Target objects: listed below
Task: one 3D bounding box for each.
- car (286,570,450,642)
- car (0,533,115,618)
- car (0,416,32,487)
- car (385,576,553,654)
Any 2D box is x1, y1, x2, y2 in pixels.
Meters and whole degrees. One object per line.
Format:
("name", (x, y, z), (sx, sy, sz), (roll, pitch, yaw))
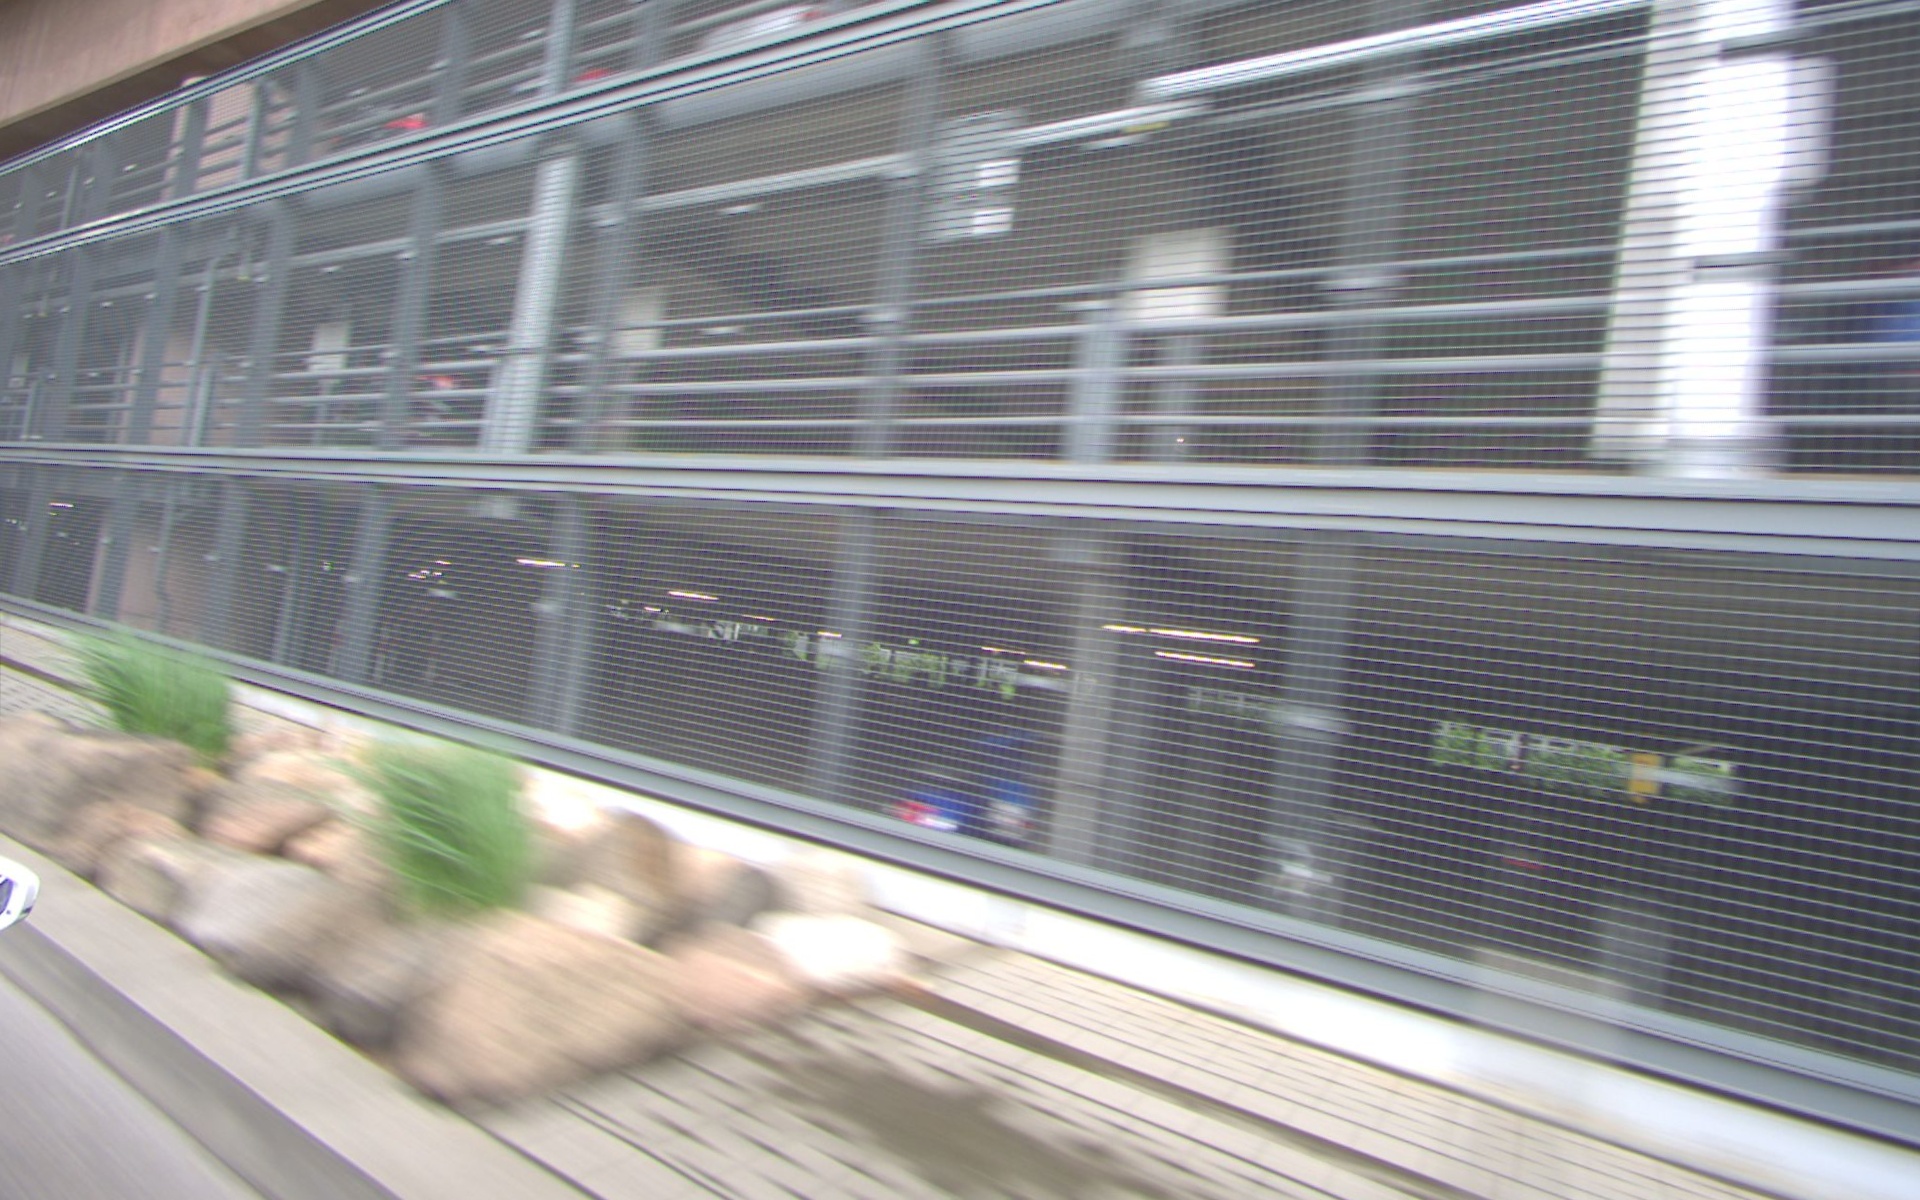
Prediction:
("car", (-18.843, 0.236, 32.209), (1.804, 1.632, 4.000), (7, -4, 31))
("car", (-20.374, -0.699, 20.757), (1.780, 1.482, 4.000), (7, -4, 31))
("car", (-25.663, -4.074, 24.546), (1.802, 1.675, 3.996), (8, -3, 33))
("car", (-14.379, 0.477, 29.681), (1.693, 1.632, 4.000), (7, -4, 31))
